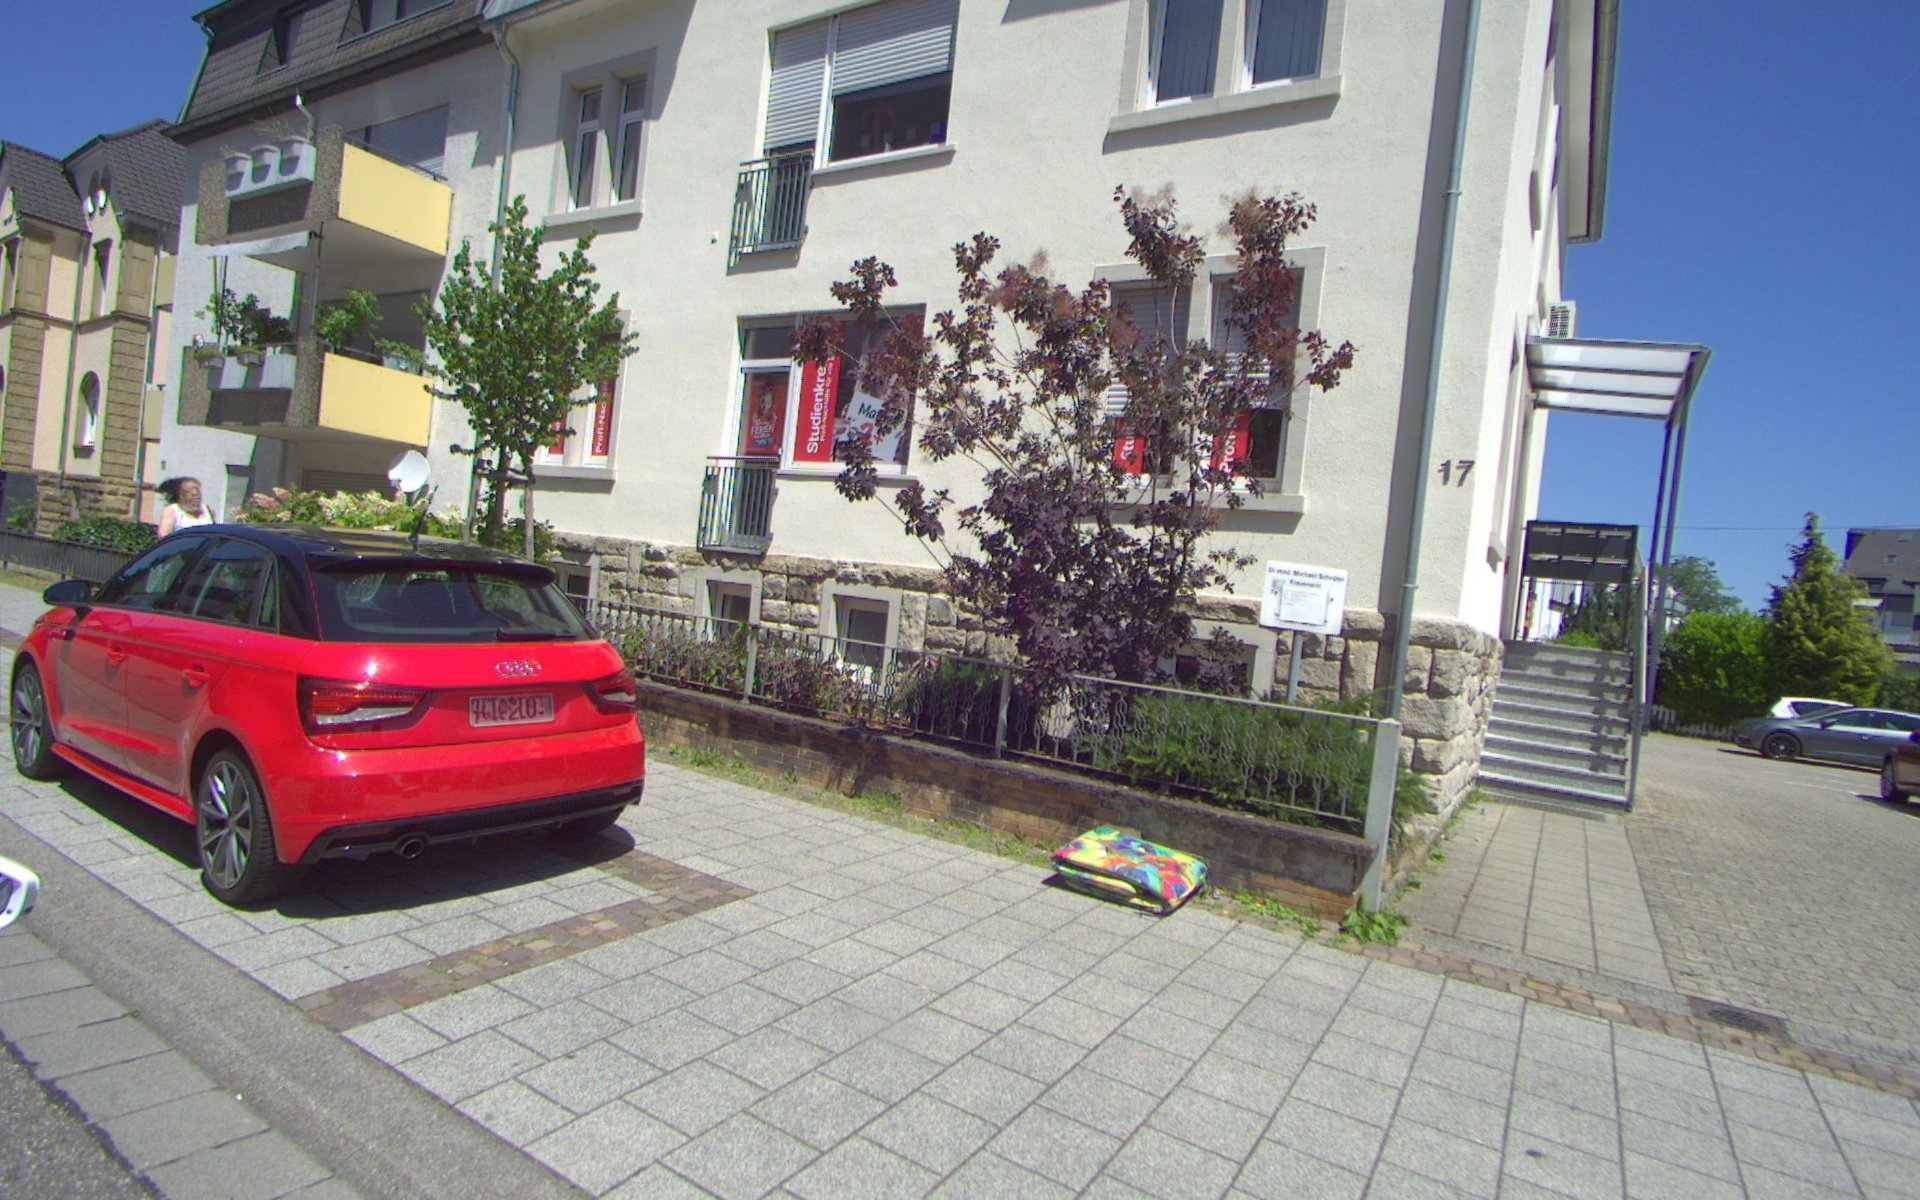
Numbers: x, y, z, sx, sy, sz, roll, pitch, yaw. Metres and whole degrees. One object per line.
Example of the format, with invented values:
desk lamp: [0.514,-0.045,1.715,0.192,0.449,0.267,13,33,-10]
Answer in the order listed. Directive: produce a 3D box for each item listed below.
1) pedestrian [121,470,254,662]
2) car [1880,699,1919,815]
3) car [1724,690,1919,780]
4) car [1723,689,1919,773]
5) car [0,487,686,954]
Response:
pedestrian: [-7.254,-0.312,9.453,0.694,1.692,0.740,7,4,31]
car: [13.704,2.198,12.972,1.841,1.534,4.185,7,0,32]
car: [19.863,3.037,22.682,3.935,1.438,1.802,7,0,33]
car: [21.563,3.213,24.933,3.935,1.438,1.802,7,0,33]
car: [-3.331,0.308,5.093,3.791,1.460,1.602,7,3,34]
